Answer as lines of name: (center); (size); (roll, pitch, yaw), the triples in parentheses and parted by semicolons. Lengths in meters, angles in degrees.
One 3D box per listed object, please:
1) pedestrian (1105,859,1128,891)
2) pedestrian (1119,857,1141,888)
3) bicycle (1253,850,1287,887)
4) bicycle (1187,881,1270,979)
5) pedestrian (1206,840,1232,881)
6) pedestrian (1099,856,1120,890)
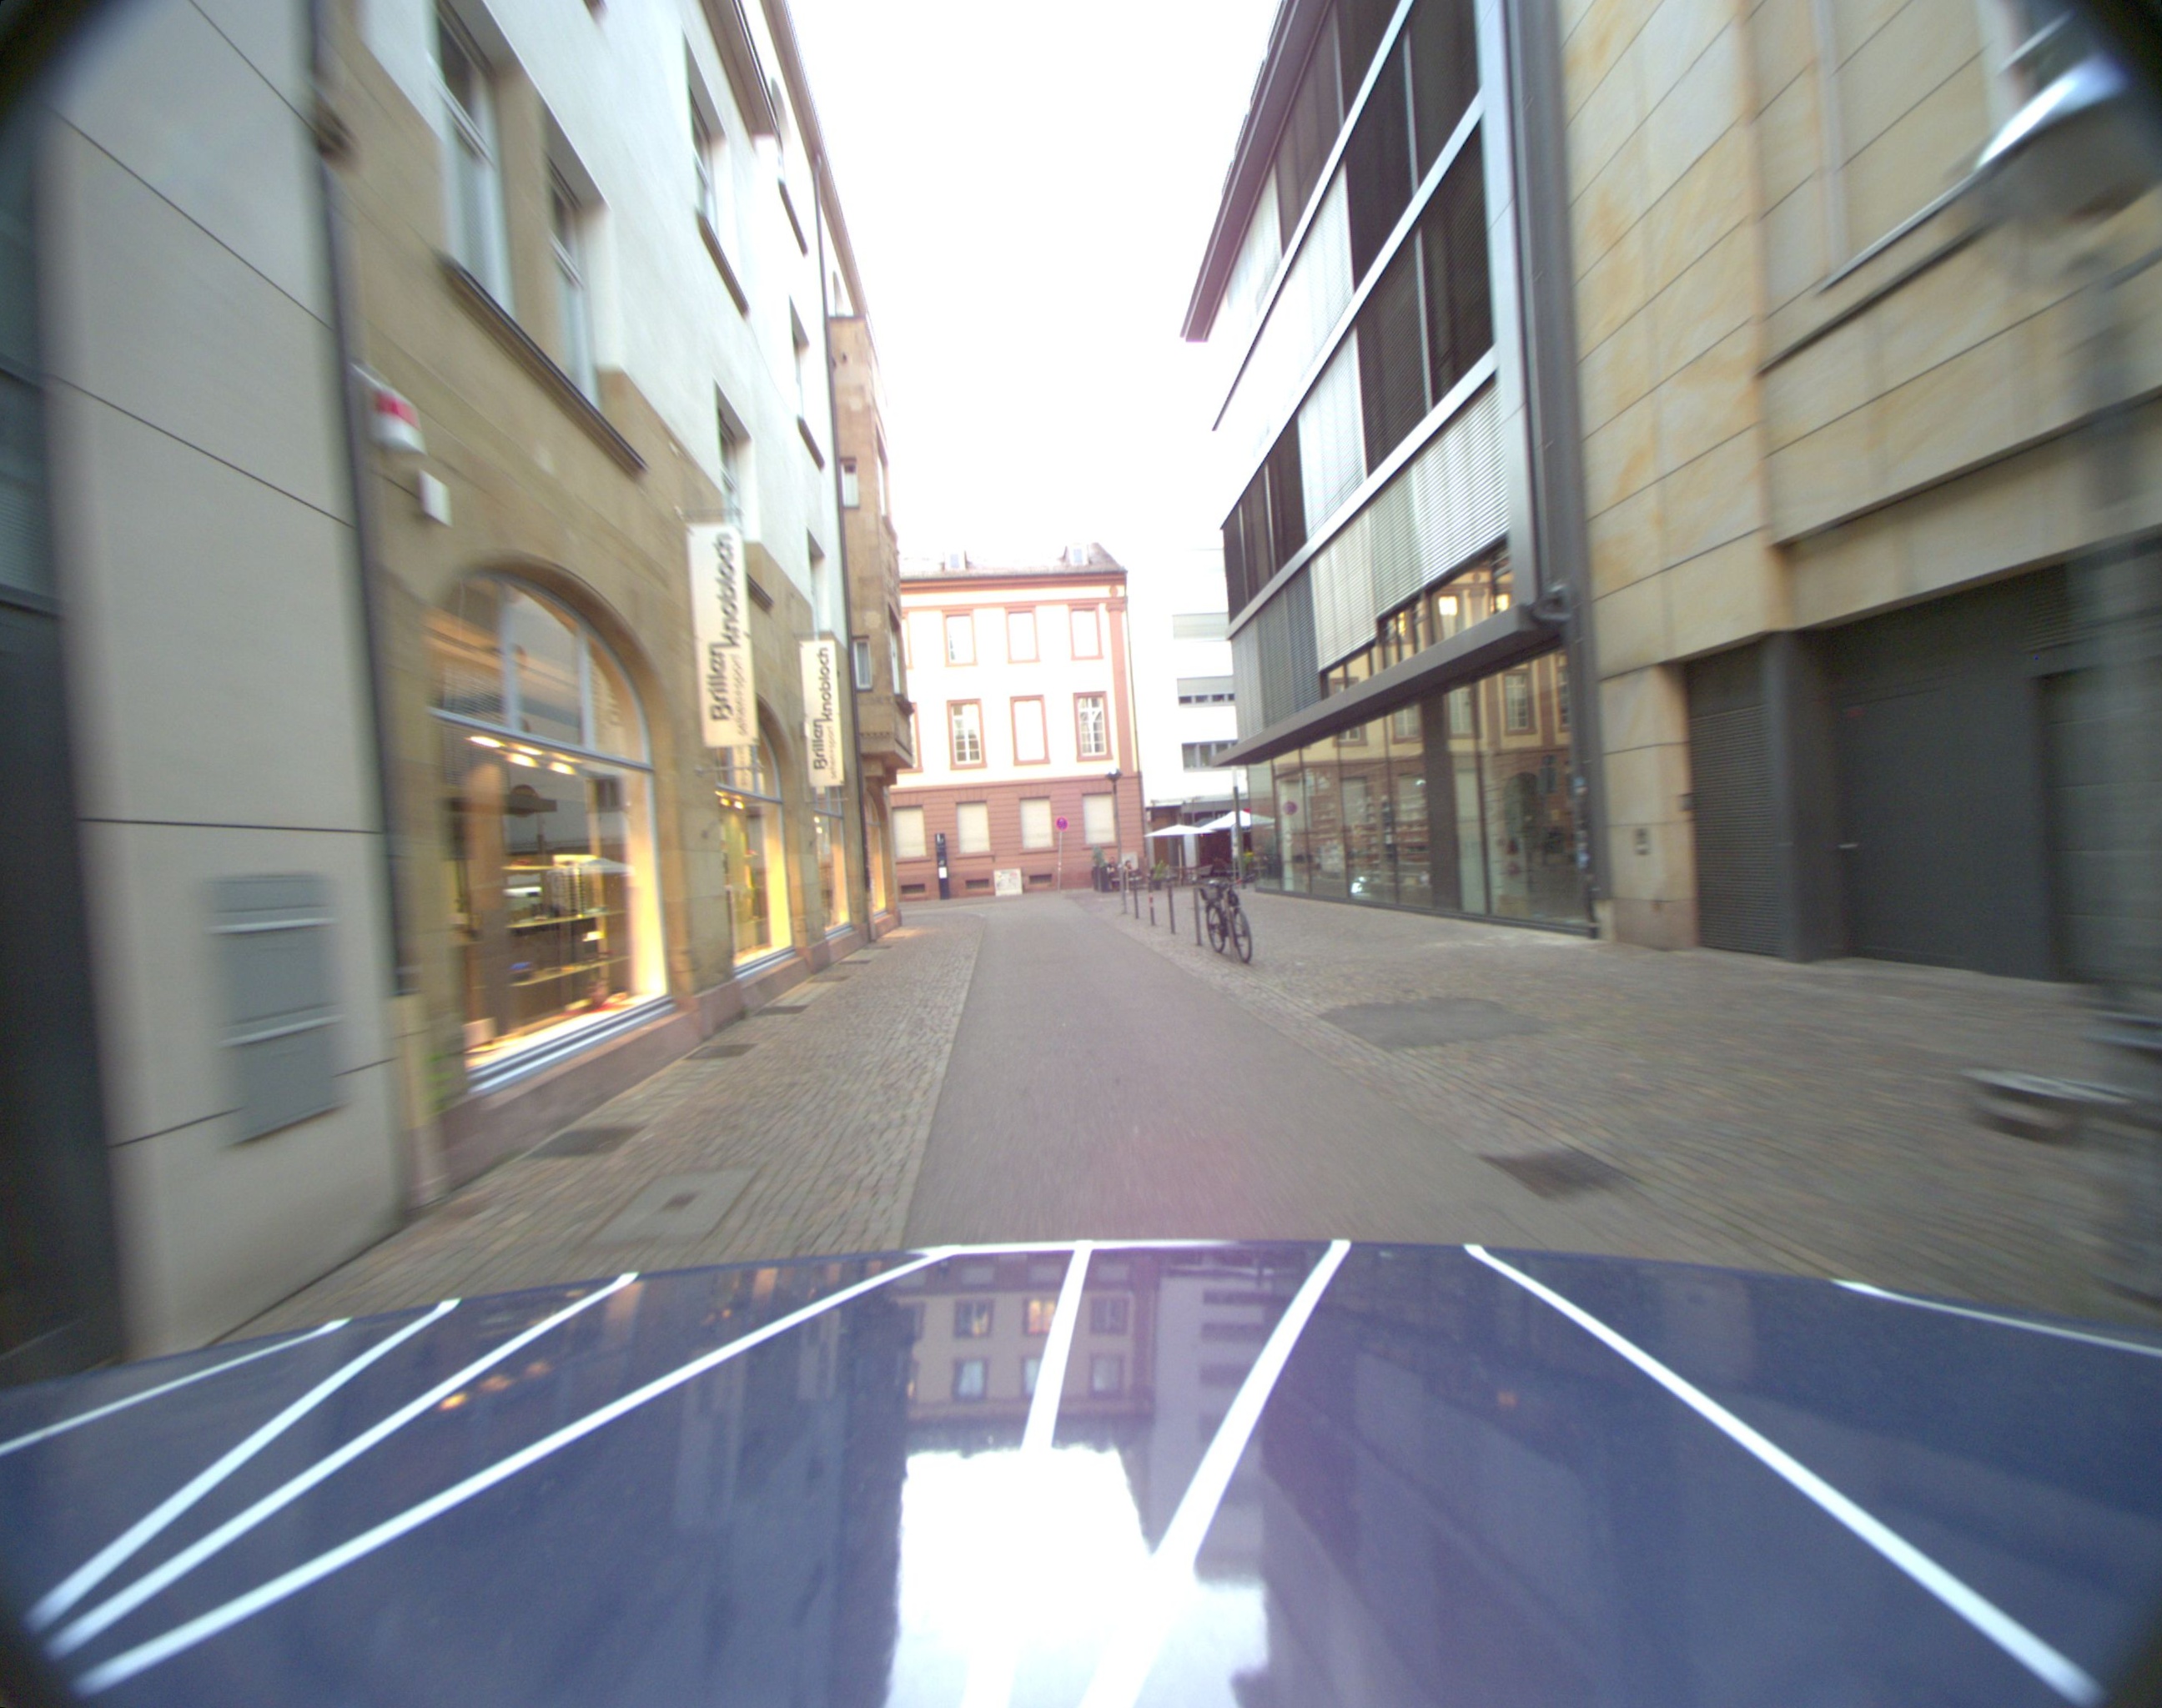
pedestrian: (1.399, 0.817, 30.002); (0.674, 1.177, 0.792); (-4, 2, -11)
pedestrian: (2.006, 0.749, 31.006); (0.673, 1.177, 0.792); (-4, 2, -7)
bicycle: (6.239, 0.494, 25.154); (0.467, 1.129, 1.702); (-4, -2, -6)
bicycle: (1.978, 0.983, 10.435); (0.411, 1.126, 1.929); (-4, 1, -9)
pedestrian: (5.717, 0.275, 31.596); (0.725, 1.639, 0.792); (-4, 1, -11)
pedestrian: (1.171, 0.787, 31.307); (0.673, 1.324, 0.792); (-4, 2, -7)
